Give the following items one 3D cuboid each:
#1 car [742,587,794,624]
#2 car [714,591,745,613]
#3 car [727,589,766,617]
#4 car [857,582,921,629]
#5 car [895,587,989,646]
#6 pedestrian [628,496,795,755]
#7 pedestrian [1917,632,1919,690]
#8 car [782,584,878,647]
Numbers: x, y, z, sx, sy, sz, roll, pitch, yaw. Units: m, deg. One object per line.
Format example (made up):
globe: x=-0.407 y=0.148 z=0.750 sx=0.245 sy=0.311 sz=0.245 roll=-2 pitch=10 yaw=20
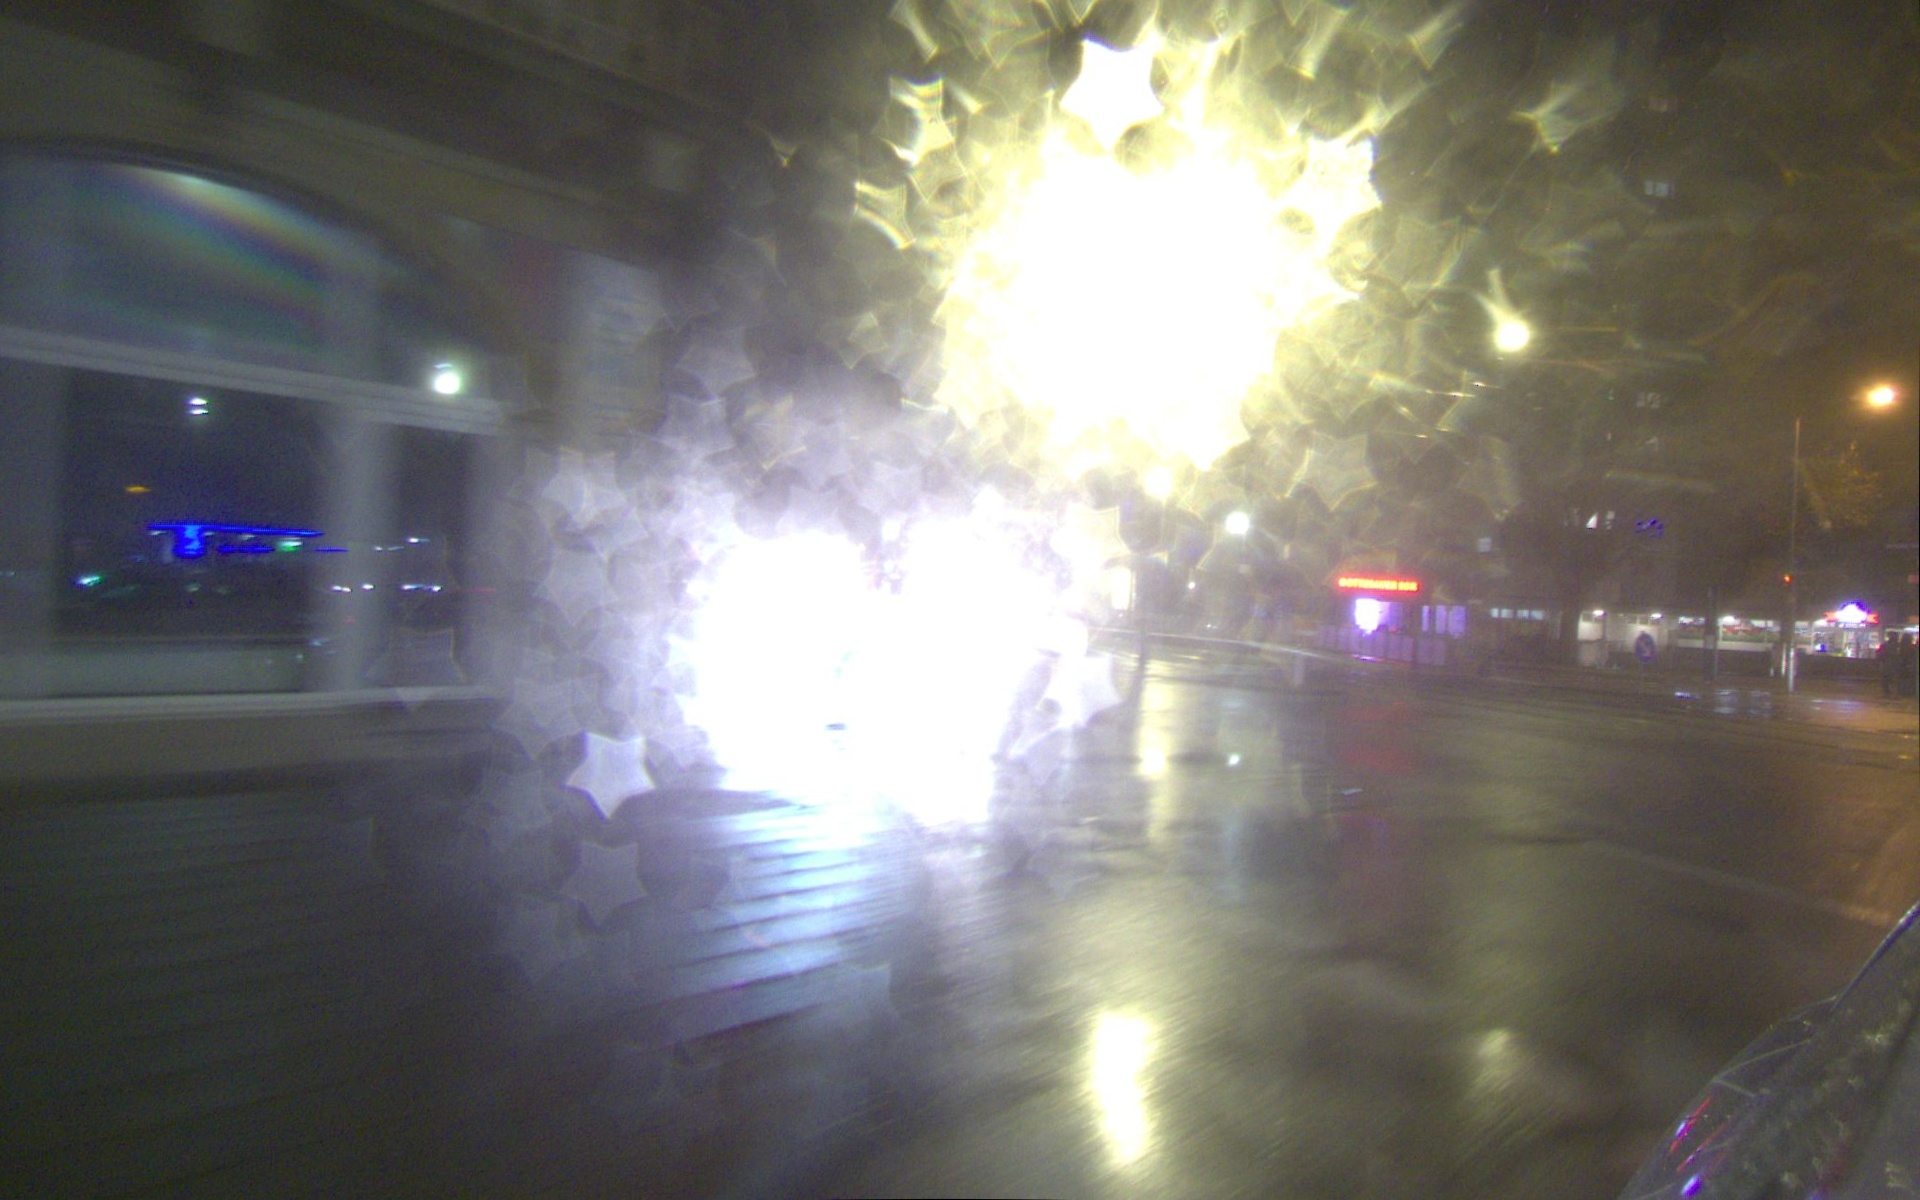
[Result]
car: x=-9.416 y=0.230 z=49.331 sx=1.881 sy=1.599 sz=4.599 roll=3 pitch=0 yaw=-18
car: x=-17.869 y=0.122 z=78.254 sx=1.881 sy=1.599 sz=4.599 roll=3 pitch=0 yaw=-18
car: x=-13.579 y=0.176 z=64.083 sx=1.881 sy=1.599 sz=4.599 roll=3 pitch=0 yaw=-18
car: x=-2.718 y=0.184 z=38.171 sx=1.655 sy=1.599 sz=3.737 roll=3 pitch=0 yaw=-15
car: x=-0.615 y=0.459 z=30.404 sx=1.706 sy=1.599 sz=3.806 roll=3 pitch=0 yaw=-18
pedestrian: x=-2.090 y=0.200 z=8.654 sx=0.999 sy=2.039 sz=0.974 roll=3 pitch=-1 yaw=9
pedestrian: x=26.934 y=1.582 z=27.524 sx=0.835 sy=1.848 sz=1.111 roll=4 pitch=-1 yaw=-35
car: x=-3.844 y=0.389 z=29.245 sx=1.881 sy=1.599 sz=4.599 roll=3 pitch=0 yaw=-18
